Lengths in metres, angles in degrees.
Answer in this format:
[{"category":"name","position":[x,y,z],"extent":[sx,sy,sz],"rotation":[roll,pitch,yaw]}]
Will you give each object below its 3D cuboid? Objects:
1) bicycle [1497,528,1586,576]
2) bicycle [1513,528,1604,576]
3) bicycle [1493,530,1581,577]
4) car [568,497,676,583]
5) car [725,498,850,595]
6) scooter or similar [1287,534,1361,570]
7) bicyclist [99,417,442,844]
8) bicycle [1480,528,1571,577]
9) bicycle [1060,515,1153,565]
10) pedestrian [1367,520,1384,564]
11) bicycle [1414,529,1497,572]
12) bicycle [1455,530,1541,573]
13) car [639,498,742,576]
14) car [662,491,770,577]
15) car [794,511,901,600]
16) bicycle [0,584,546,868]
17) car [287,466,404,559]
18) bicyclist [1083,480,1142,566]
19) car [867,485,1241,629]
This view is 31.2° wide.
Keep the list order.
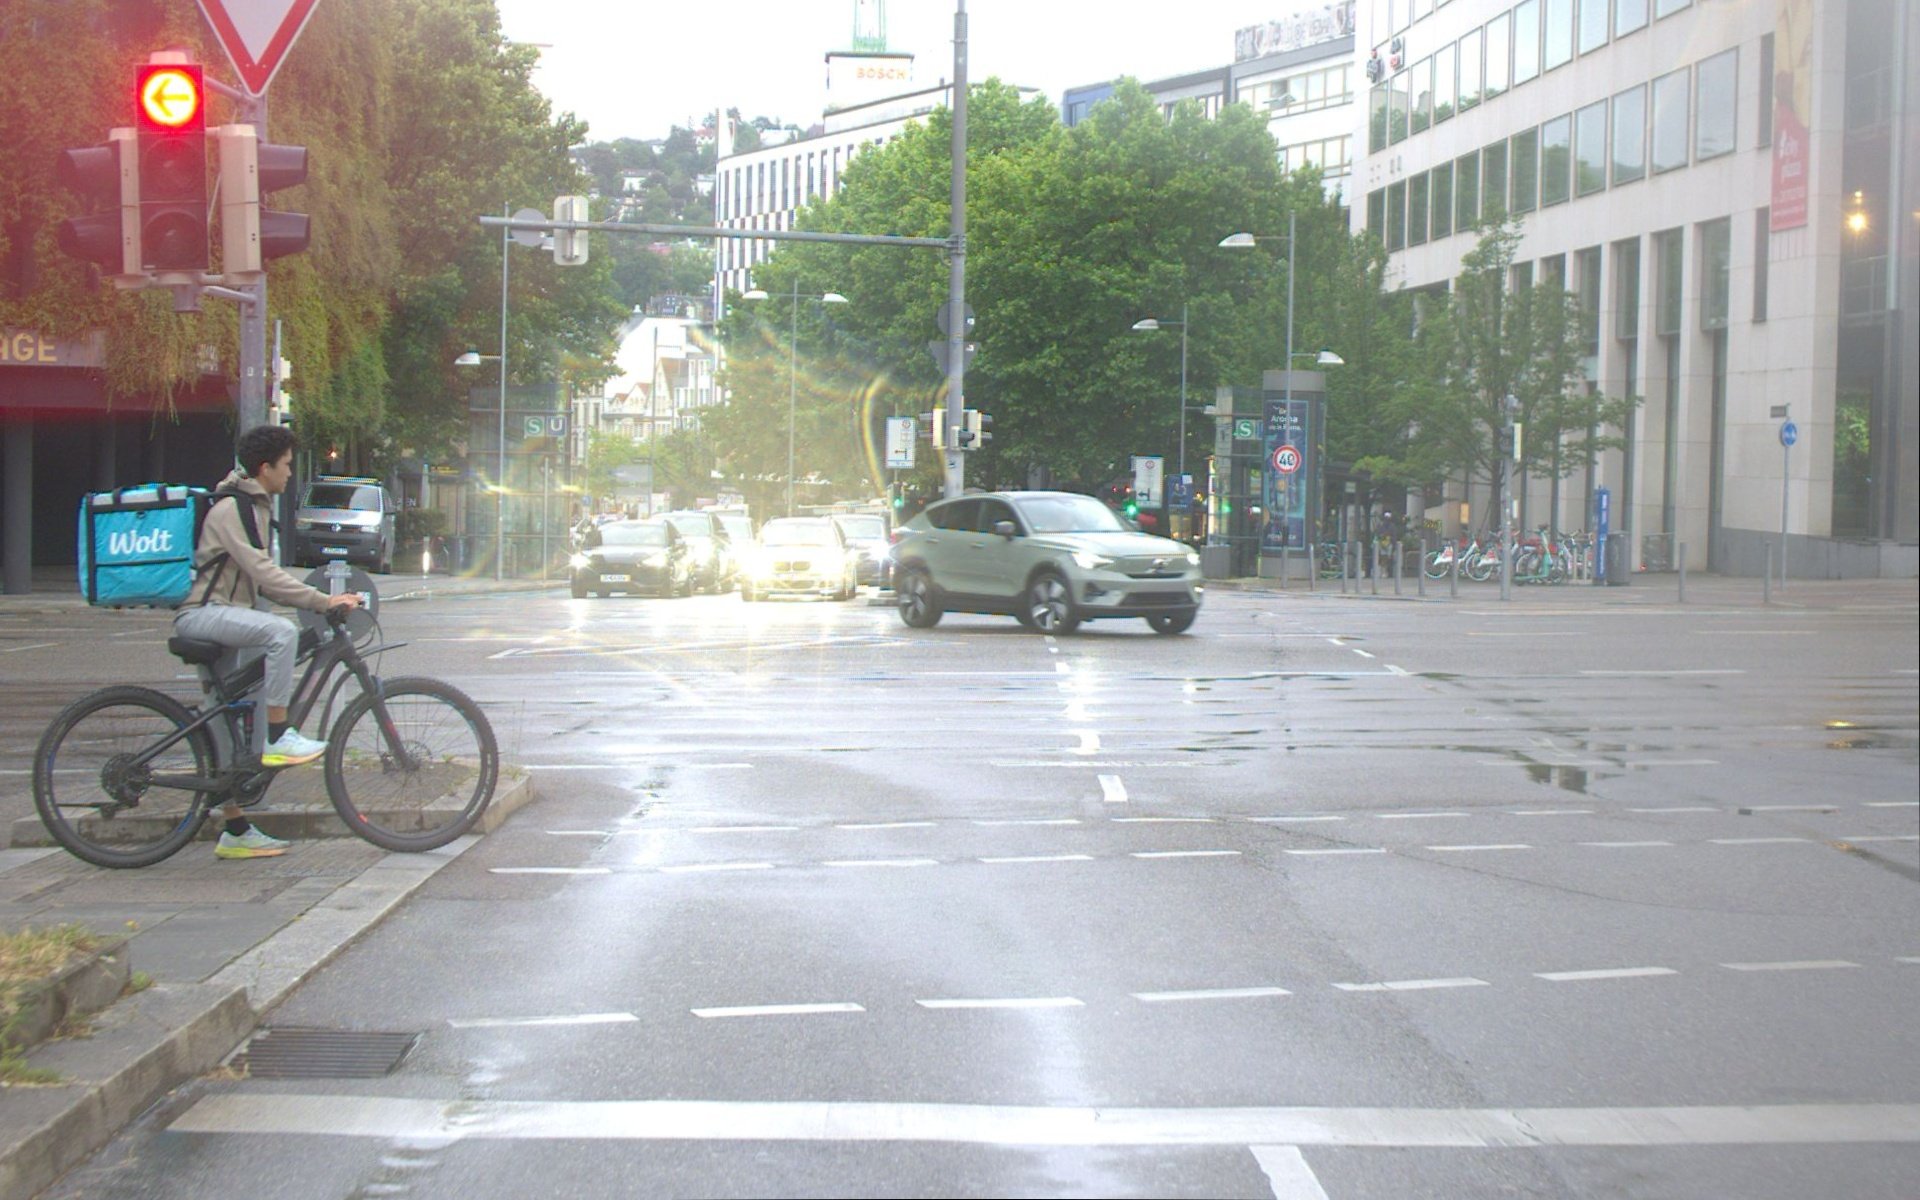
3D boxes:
[{"category":"bicycle","position":[11.831,-0.984,69.974],"extent":[1.799,0.931,0.474],"rotation":[2,2,41]},{"category":"bicycle","position":[12.004,-0.964,69.008],"extent":[1.799,0.931,0.474],"rotation":[2,2,41]},{"category":"bicycle","position":[11.860,-0.962,70.720],"extent":[1.799,0.931,0.474],"rotation":[2,2,41]},{"category":"car","position":[-6.076,-1.107,62.013],"extent":[1.856,1.443,4.622],"rotation":[0,2,-5]},{"category":"car","position":[-2.848,-0.925,57.561],"extent":[1.993,1.481,4.465],"rotation":[0,3,-2]},{"category":"scooter or similar","position":[8.895,-1.169,83.952],"extent":[1.745,0.875,0.489],"rotation":[0,1,-19]},{"category":"bicyclist","position":[-2.873,0.111,14.274],"extent":[1.294,1.698,0.848],"rotation":[0,1,-18]},{"category":"bicycle","position":[11.239,-0.953,68.367],"extent":[1.799,0.931,0.474],"rotation":[2,2,41]},{"category":"bicycle","position":[3.381,-1.394,79.436],"extent":[0.791,1.113,2.255],"rotation":[0,2,-41]},{"category":"pedestrian","position":[11.166,-1.560,92.424],"extent":[0.353,1.169,0.415],"rotation":[0,1,-8]},{"category":"bicycle","position":[11.084,-1.107,76.896],"extent":[1.794,0.931,0.475],"rotation":[1,1,3]},{"category":"bicycle","position":[11.734,-1.062,75.047],"extent":[1.794,0.931,0.475],"rotation":[1,1,3]},{"category":"car","position":[-5.408,-1.274,68.554],"extent":[1.856,1.443,4.622],"rotation":[0,2,-7]},{"category":"car","position":[-5.405,-1.471,75.585],"extent":[2.174,1.817,4.645],"rotation":[0,2,-6]},{"category":"car","position":[-2.319,-0.939,69.798],"extent":[1.963,1.649,4.365],"rotation":[0,3,-4]},{"category":"bicycle","position":[-2.865,0.494,14.275],"extent":[2.145,1.099,0.848],"rotation":[0,2,-18]},{"category":"car","position":[-12.914,-1.848,72.460],"extent":[1.993,1.888,4.466],"rotation":[0,2,-5]},{"category":"bicyclist","position":[3.519,-1.779,79.285],"extent":[0.791,1.968,1.114],"rotation":[0,2,-41]},{"category":"car","position":[1.006,-0.532,39.313],"extent":[1.994,1.545,4.555],"rotation":[-1,2,-34]}]
